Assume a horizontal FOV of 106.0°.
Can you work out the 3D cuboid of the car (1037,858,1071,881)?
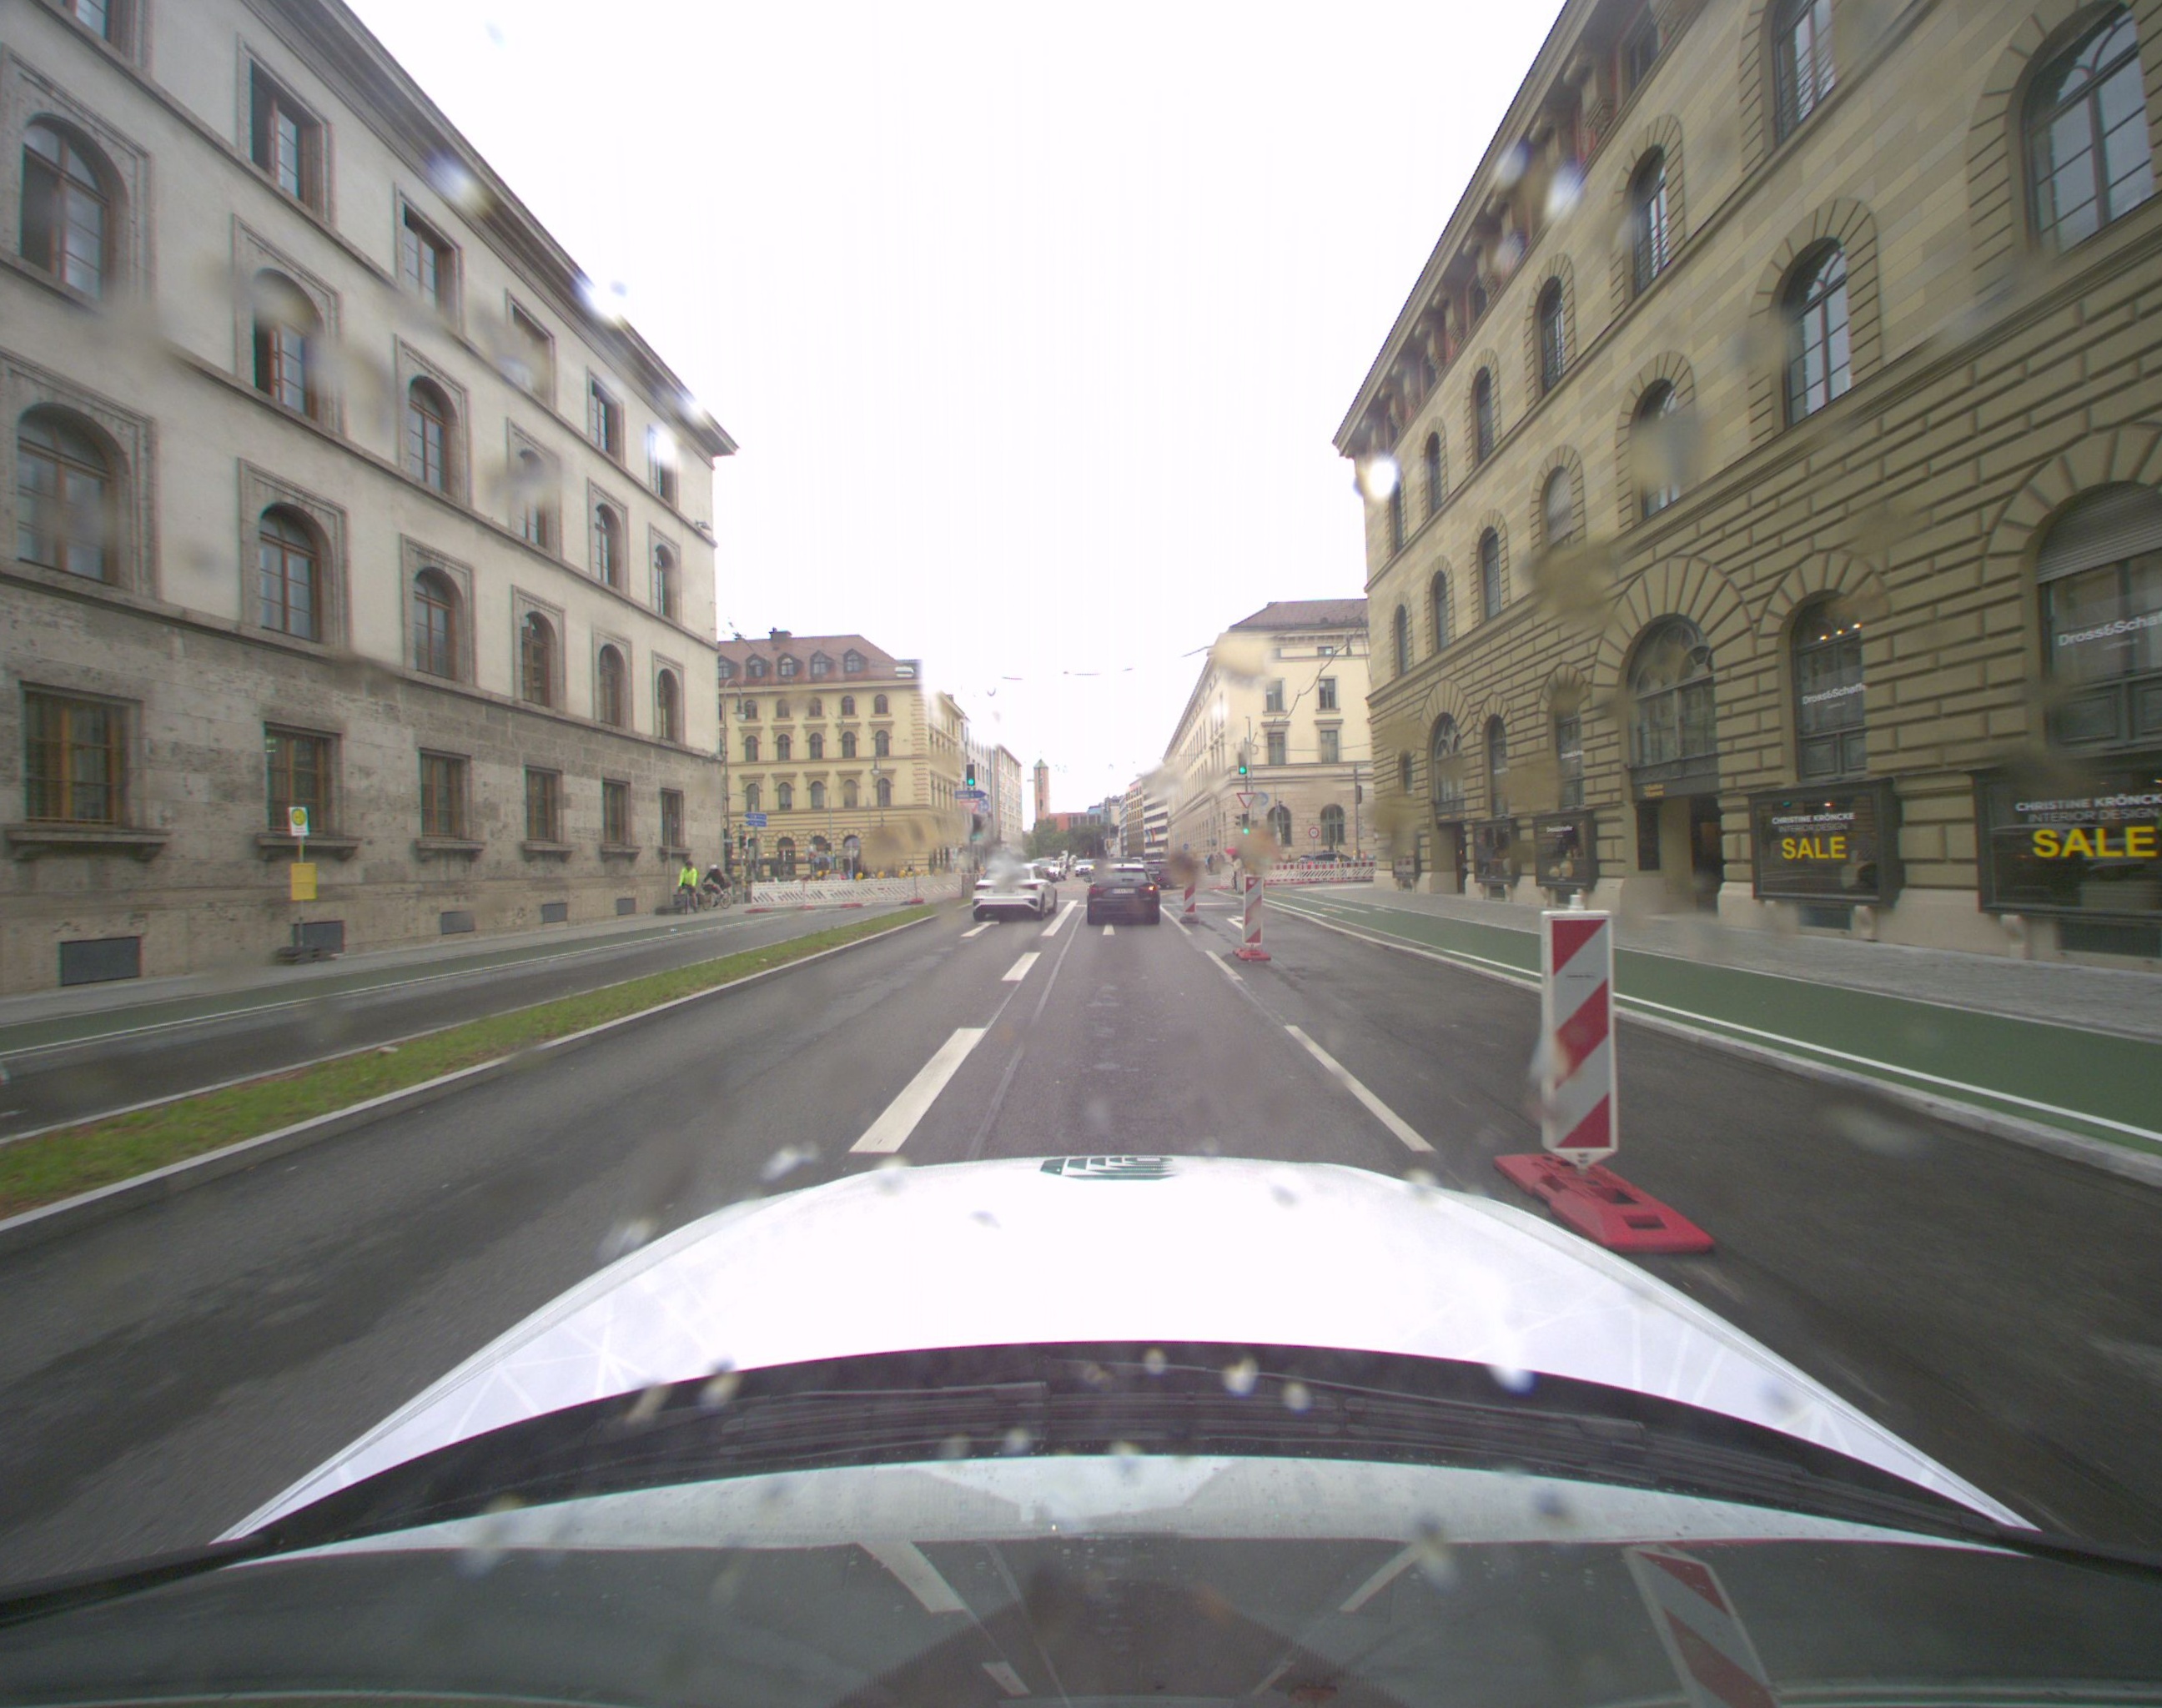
[{"bbox_3d":[-2.180,1.253,66.754,1.781,1.677,4.247,-2,0,12],"label":"car"}]

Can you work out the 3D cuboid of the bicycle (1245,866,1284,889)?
[{"bbox_3d":[8.263,1.038,36.666,1.636,1.011,0.590,-1,-1,44],"label":"bicycle"}]

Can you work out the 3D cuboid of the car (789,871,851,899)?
[{"bbox_3d":[-18.557,2.178,57.955,3.730,1.798,1.867,-2,-1,-2],"label":"car"}]

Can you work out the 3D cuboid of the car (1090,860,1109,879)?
[{"bbox_3d":[2.024,1.655,88.061,1.986,2.013,4.001,-2,0,1],"label":"car"}]

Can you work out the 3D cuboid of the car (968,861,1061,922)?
[{"bbox_3d":[-1.658,0.930,21.906,1.805,1.425,4.457,0,0,4],"label":"car"}]

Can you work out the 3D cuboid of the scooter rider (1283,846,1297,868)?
[{"bbox_3d":[15.945,0.239,62.090,0.928,1.622,0.593,-1,-1,3],"label":"scooter rider"}]

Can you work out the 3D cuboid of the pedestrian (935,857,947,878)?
[{"bbox_3d":[-11.850,1.146,68.936,0.727,1.772,0.765,-1,-1,23],"label":"pedestrian"}]

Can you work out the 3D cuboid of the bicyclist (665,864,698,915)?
[{"bbox_3d":[-14.074,1.231,28.703,0.794,1.748,0.690,-1,-1,5],"label":"bicyclist"}]

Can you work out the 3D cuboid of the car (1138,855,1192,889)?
[{"bbox_3d":[4.228,0.873,40.501,1.754,1.617,4.020,-1,0,20],"label":"car"}]

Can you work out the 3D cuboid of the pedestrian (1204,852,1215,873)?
[{"bbox_3d":[10.782,0.689,68.389,0.811,1.755,0.683,-1,-1,18],"label":"pedestrian"}]

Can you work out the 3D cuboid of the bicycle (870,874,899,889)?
[{"bbox_3d":[-15.825,2.185,65.664,2.201,1.099,0.595,-2,-1,-23],"label":"bicycle"}]

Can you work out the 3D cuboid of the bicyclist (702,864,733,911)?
[{"bbox_3d":[-13.906,1.261,31.165,0.794,1.776,0.690,-1,-1,5],"label":"bicyclist"}]

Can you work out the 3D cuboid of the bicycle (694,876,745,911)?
[{"bbox_3d":[-13.881,1.510,31.366,0.783,1.242,2.203,-1,0,6],"label":"bicycle"}]

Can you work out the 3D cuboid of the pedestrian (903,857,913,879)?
[{"bbox_3d":[-14.463,1.165,68.000,0.733,1.772,0.737,-1,-1,-8],"label":"pedestrian"}]

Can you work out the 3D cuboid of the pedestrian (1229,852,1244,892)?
[{"bbox_3d":[6.376,0.717,33.353,0.529,1.620,0.674,-1,-1,4],"label":"pedestrian"}]

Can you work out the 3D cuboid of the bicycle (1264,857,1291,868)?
[{"bbox_3d":[15.272,0.649,63.449,1.963,0.879,0.662,-1,0,4],"label":"bicycle"}]

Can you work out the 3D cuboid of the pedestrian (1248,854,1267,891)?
[{"bbox_3d":[7.437,0.775,34.308,0.699,1.567,0.682,-1,-1,4],"label":"pedestrian"}]

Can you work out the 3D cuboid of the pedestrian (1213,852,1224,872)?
[{"bbox_3d":[11.592,0.671,68.786,0.578,1.755,0.825,-1,-1,33],"label":"pedestrian"}]

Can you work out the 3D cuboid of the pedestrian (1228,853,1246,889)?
[{"bbox_3d":[6.796,0.748,35.456,0.699,1.567,0.542,-1,-1,4],"label":"pedestrian"}]

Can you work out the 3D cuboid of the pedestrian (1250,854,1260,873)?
[{"bbox_3d":[14.331,0.809,67.098,0.812,1.557,0.669,-1,-1,9],"label":"pedestrian"}]

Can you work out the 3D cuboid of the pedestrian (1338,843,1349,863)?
[{"bbox_3d":[21.927,-0.062,68.025,0.712,1.694,0.821,-1,-1,3],"label":"pedestrian"}]

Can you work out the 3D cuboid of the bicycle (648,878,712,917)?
[{"bbox_3d":[-14.079,1.500,28.681,0.783,1.242,2.453,-1,0,6],"label":"bicycle"}]

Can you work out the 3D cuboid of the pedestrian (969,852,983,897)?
[{"bbox_3d":[-4.230,0.822,32.929,0.512,1.743,1.040,-1,-1,-8],"label":"pedestrian"}]

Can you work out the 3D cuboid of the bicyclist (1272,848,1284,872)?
[{"bbox_3d":[15.346,0.474,63.437,0.740,1.842,0.661,-1,-1,4],"label":"bicyclist"}]

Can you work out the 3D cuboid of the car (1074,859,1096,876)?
[{"bbox_3d":[0.369,1.286,79.035,1.986,1.524,4.234,-2,0,1],"label":"car"}]

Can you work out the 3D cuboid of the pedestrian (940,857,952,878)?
[{"bbox_3d":[-11.530,1.149,69.634,0.727,1.772,0.743,-1,-1,23],"label":"pedestrian"}]

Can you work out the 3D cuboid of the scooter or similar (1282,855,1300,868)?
[{"bbox_3d":[15.983,0.582,62.084,1.205,0.965,0.588,-1,-1,3],"label":"scooter or similar"}]

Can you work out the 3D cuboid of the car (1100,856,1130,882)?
[{"bbox_3d":[2.216,0.953,53.472,1.858,1.601,3.852,-2,0,2],"label":"car"}]

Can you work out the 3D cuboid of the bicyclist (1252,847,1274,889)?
[{"bbox_3d":[8.212,0.616,36.716,0.789,1.854,0.571,-1,-1,44],"label":"bicyclist"}]

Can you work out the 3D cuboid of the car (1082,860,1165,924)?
[{"bbox_3d":[1.028,0.879,20.345,1.856,1.388,4.002,-1,0,2],"label":"car"}]

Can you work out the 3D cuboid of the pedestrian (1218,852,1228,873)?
[{"bbox_3d":[12.148,0.725,69.564,0.578,1.755,0.825,-1,-1,33],"label":"pedestrian"}]
